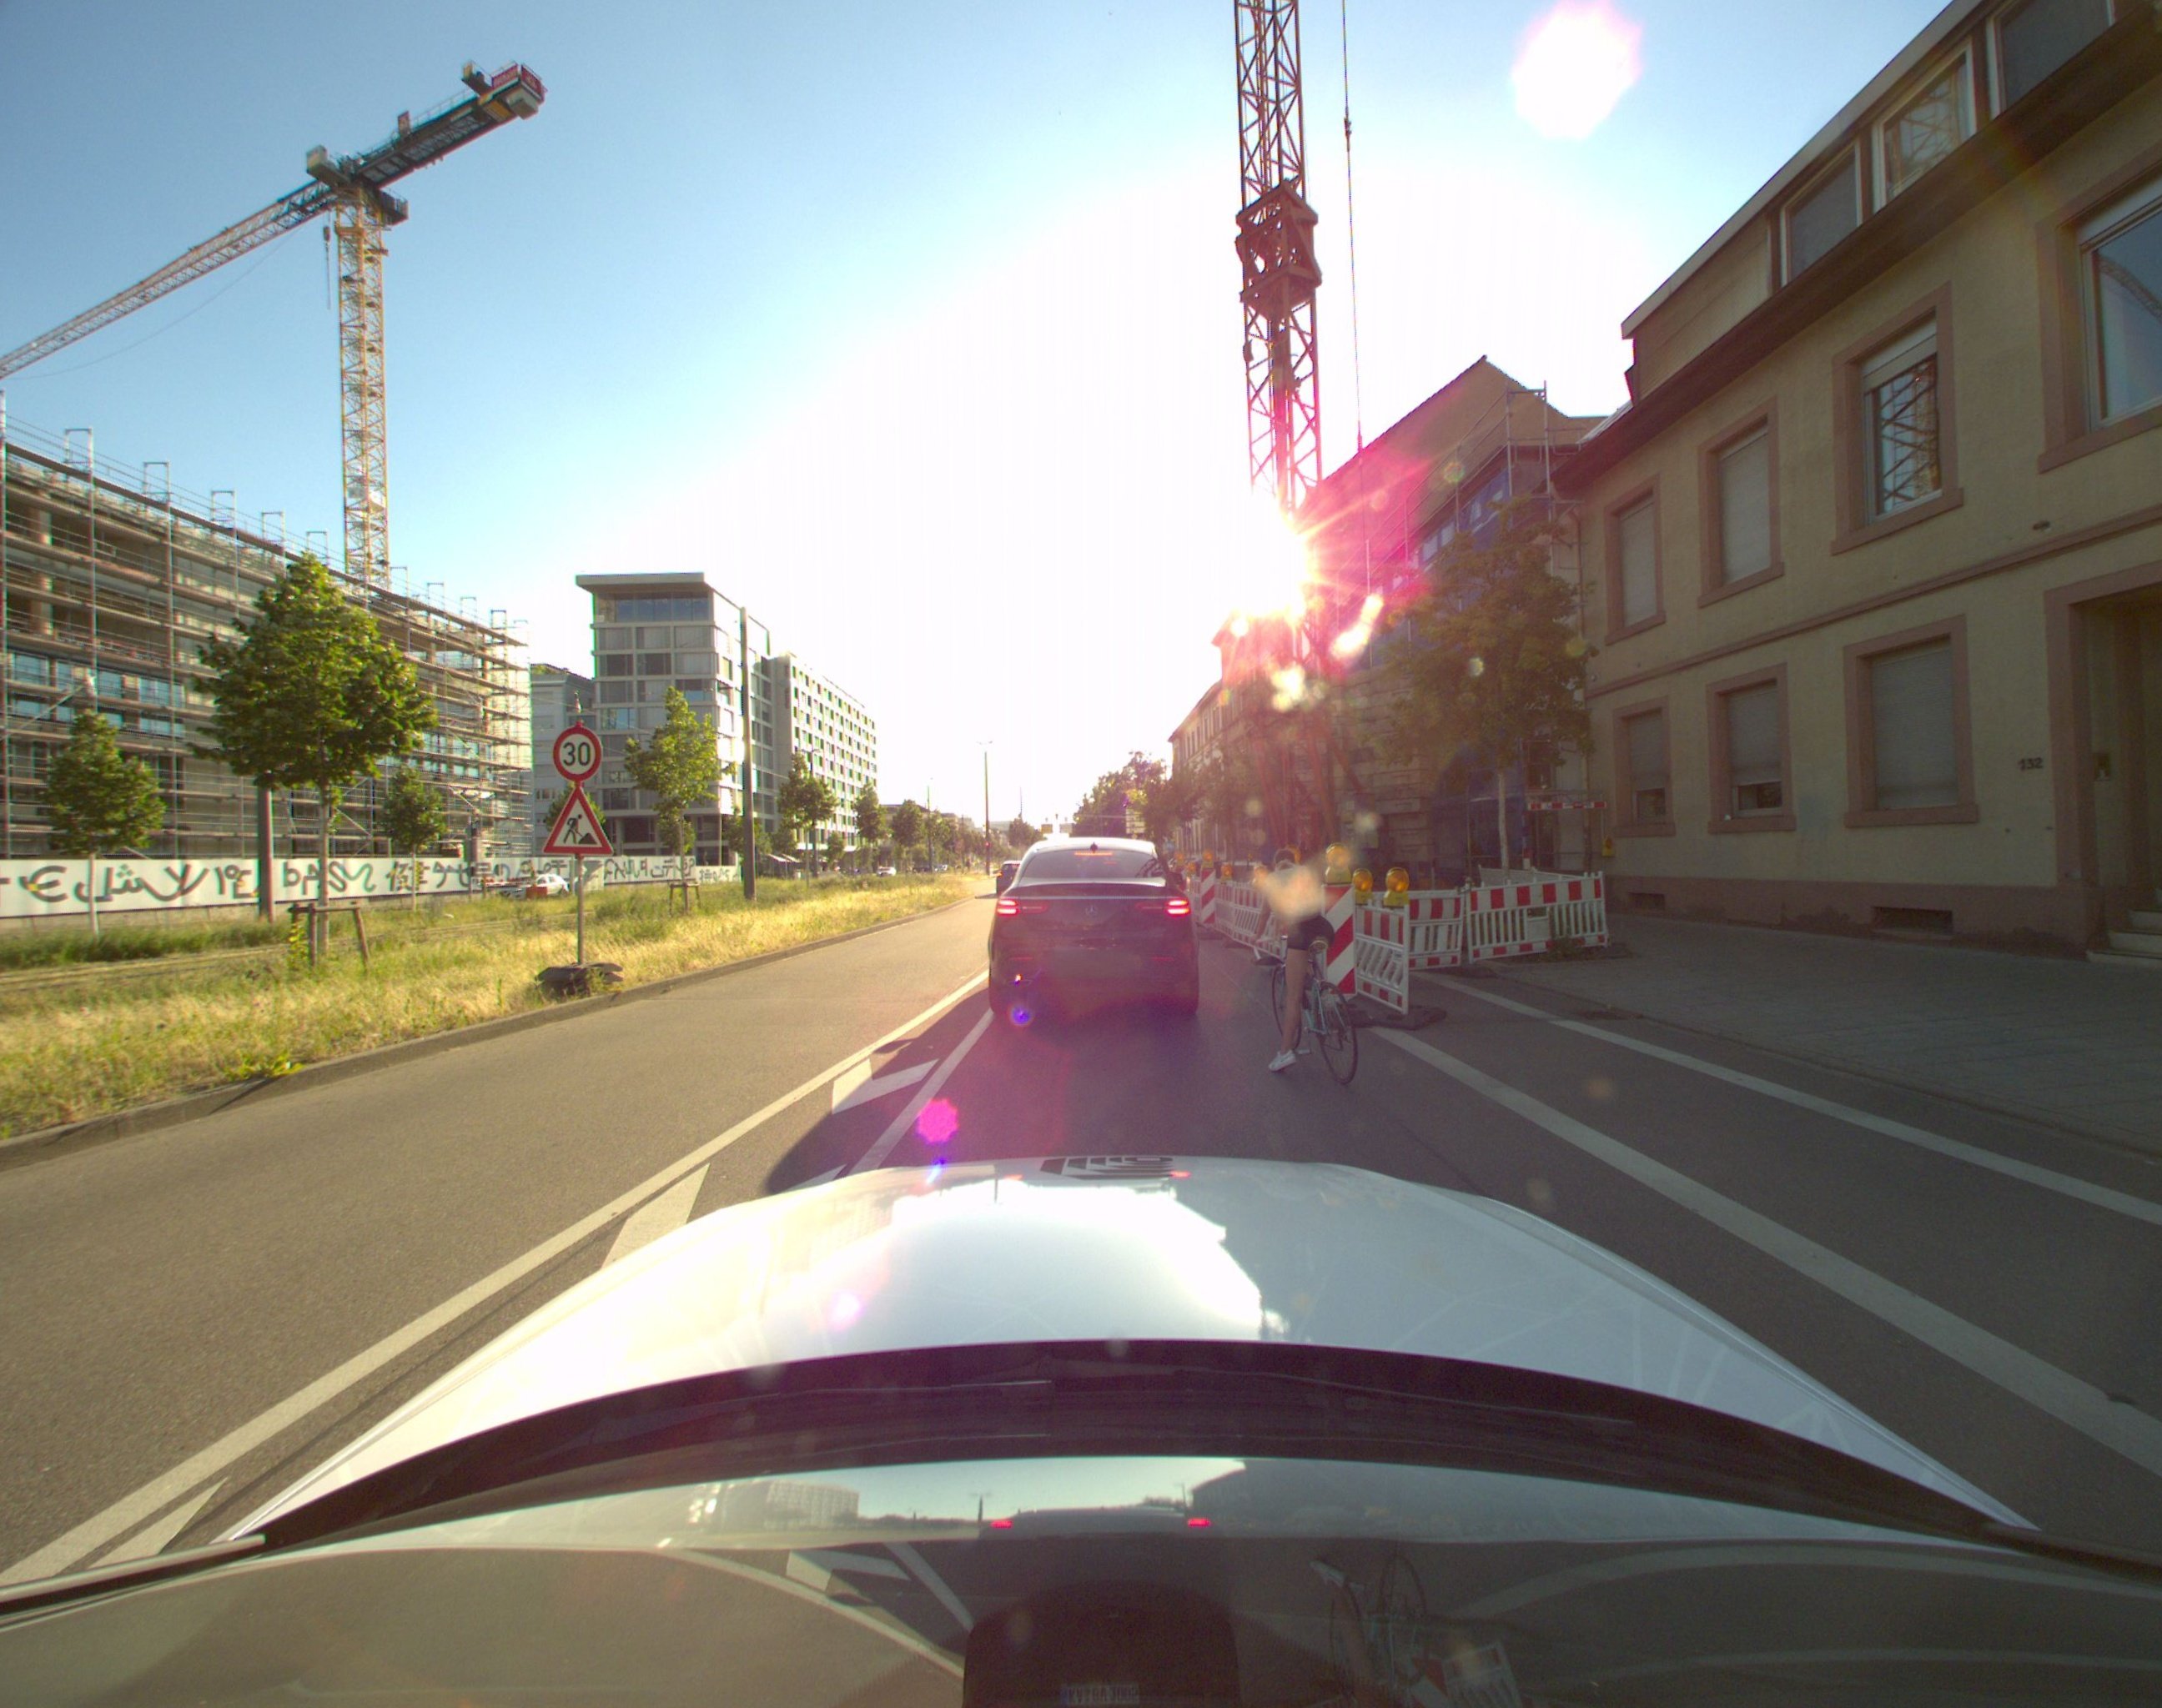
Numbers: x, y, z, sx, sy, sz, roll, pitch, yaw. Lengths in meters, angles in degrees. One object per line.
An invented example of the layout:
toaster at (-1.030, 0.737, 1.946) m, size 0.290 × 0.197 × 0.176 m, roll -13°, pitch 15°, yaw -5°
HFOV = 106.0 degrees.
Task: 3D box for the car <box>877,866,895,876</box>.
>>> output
car at (-28.019, 2.396, 117.157) m, size 1.703 × 1.442 × 3.581 m, roll 0°, pitch -1°, yaw 0°

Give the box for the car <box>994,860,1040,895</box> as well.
car at (-2.737, 0.989, 35.538) m, size 1.703 × 1.442 × 3.581 m, roll 0°, pitch -1°, yaw 0°

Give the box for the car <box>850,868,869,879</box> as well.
car at (-32.191, 2.820, 118.527) m, size 1.703 × 1.442 × 3.581 m, roll 0°, pitch -1°, yaw 0°

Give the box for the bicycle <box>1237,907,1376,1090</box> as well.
bicycle at (1.587, 0.964, 5.995) m, size 0.511 × 1.052 × 1.724 m, roll 0°, pitch -1°, yaw -1°

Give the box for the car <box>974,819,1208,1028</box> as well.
car at (0.143, 0.610, 8.954) m, size 1.986 × 1.772 × 4.001 m, roll 0°, pitch -1°, yaw 2°

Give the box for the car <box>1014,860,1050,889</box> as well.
car at (-2.543, 1.063, 42.895) m, size 1.703 × 1.442 × 3.581 m, roll 0°, pitch -1°, yaw 0°

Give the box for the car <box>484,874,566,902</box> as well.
car at (-30.208, 1.819, 44.385) m, size 1.522 × 1.310 × 4.094 m, roll -1°, pitch 0°, yaw 2°

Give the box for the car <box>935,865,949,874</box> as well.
car at (-22.554, 2.480, 132.451) m, size 1.703 × 1.442 × 3.581 m, roll 0°, pitch -1°, yaw 0°

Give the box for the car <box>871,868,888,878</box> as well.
car at (-30.060, 2.764, 121.410) m, size 1.703 × 1.442 × 3.581 m, roll 0°, pitch -1°, yaw 0°

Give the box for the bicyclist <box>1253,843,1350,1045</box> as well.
bicyclist at (1.592, 0.623, 5.938) m, size 0.521 × 1.395 × 0.614 m, roll 0°, pitch -1°, yaw -1°
